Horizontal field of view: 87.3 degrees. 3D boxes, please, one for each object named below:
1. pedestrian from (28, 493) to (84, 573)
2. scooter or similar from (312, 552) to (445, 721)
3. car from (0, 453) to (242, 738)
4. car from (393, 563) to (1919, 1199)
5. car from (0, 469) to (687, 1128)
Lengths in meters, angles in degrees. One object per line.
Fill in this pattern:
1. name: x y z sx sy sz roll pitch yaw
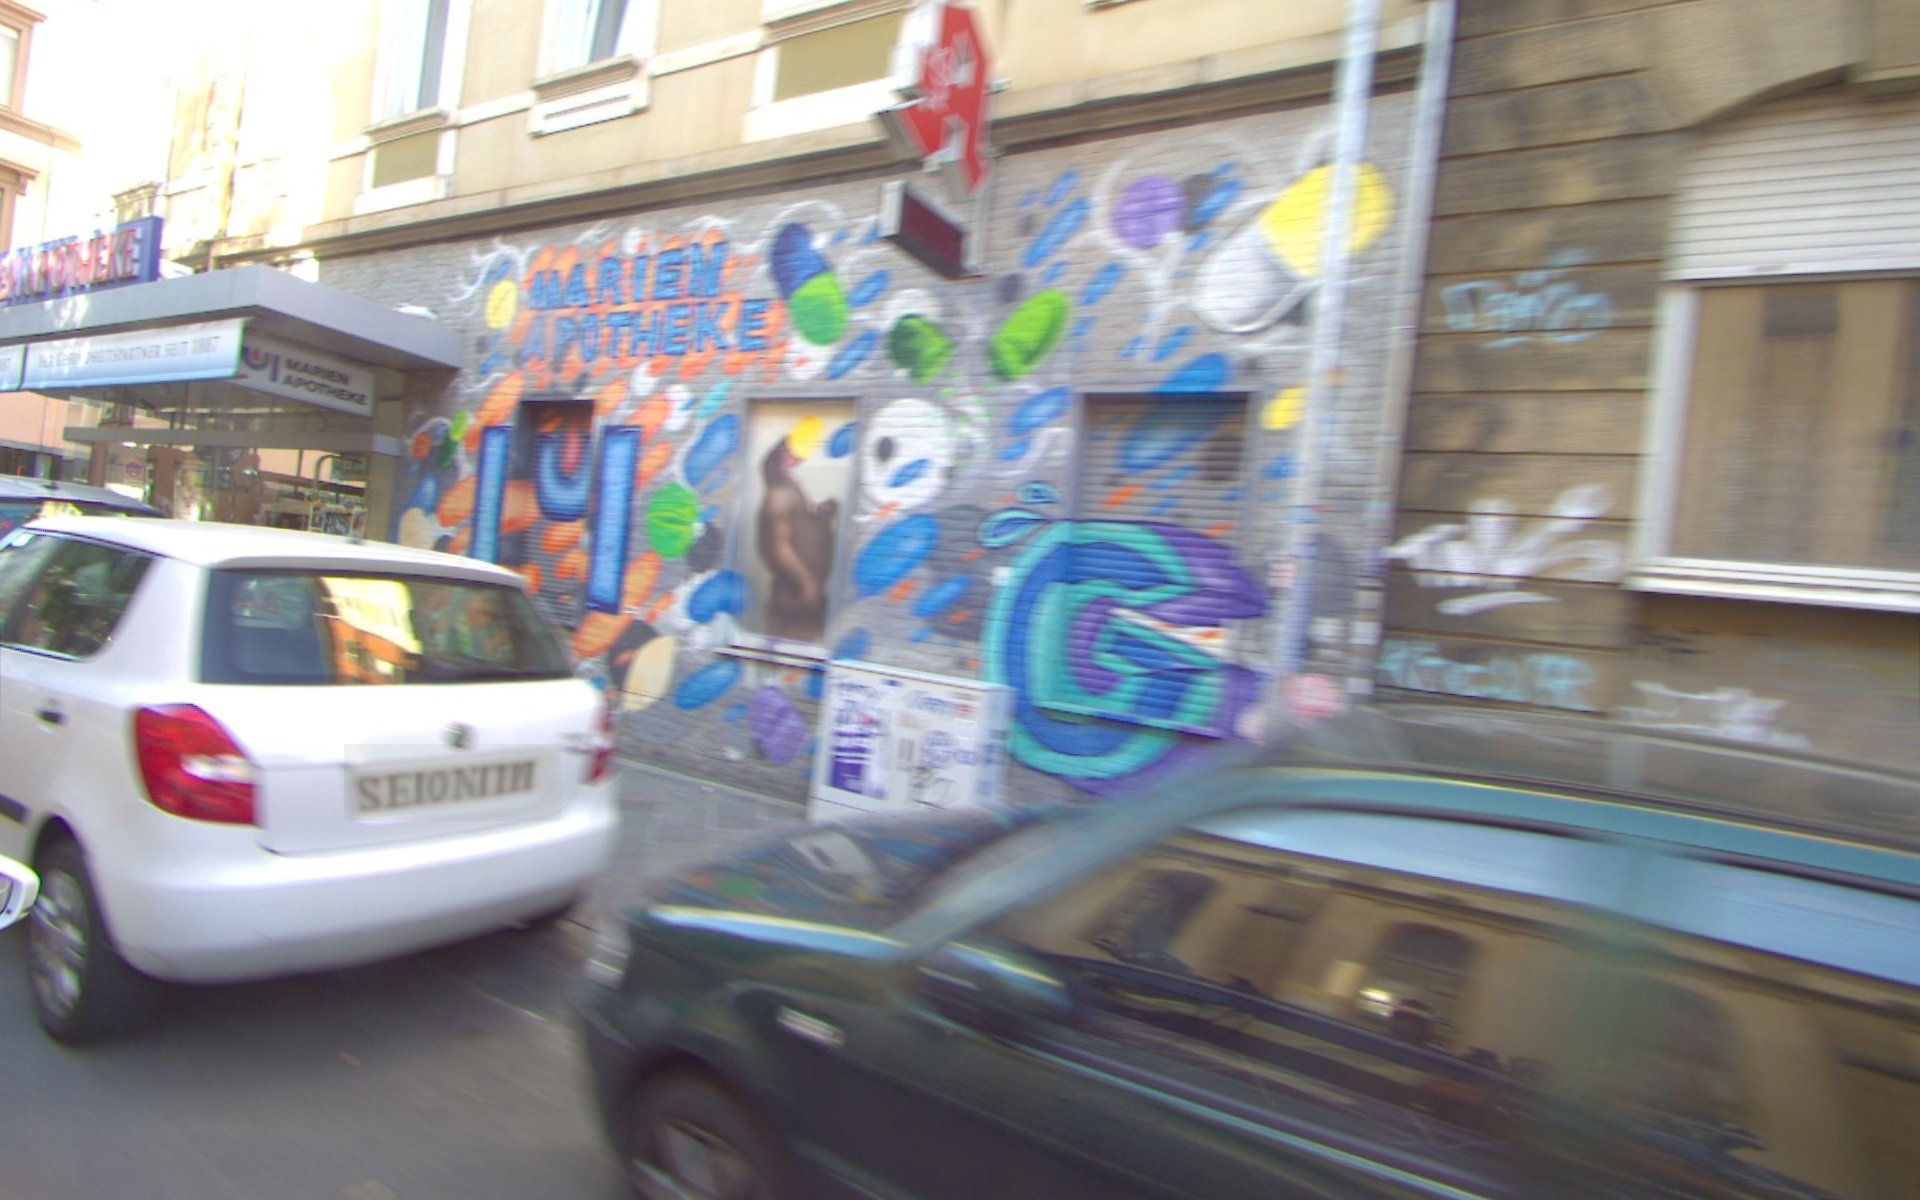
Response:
1. pedestrian: -20.961 -1.550 23.342 0.467 1.746 0.692 6 -2 30
2. scooter or similar: -4.897 0.297 8.455 1.019 1.294 0.395 6 -2 31
3. car: -7.197 -0.154 7.215 3.995 1.669 1.704 6 -2 30
4. car: 0.761 0.895 1.989 3.850 1.504 1.589 6 -2 34
5. car: -3.243 0.384 4.134 4.131 1.544 1.557 6 -2 32
